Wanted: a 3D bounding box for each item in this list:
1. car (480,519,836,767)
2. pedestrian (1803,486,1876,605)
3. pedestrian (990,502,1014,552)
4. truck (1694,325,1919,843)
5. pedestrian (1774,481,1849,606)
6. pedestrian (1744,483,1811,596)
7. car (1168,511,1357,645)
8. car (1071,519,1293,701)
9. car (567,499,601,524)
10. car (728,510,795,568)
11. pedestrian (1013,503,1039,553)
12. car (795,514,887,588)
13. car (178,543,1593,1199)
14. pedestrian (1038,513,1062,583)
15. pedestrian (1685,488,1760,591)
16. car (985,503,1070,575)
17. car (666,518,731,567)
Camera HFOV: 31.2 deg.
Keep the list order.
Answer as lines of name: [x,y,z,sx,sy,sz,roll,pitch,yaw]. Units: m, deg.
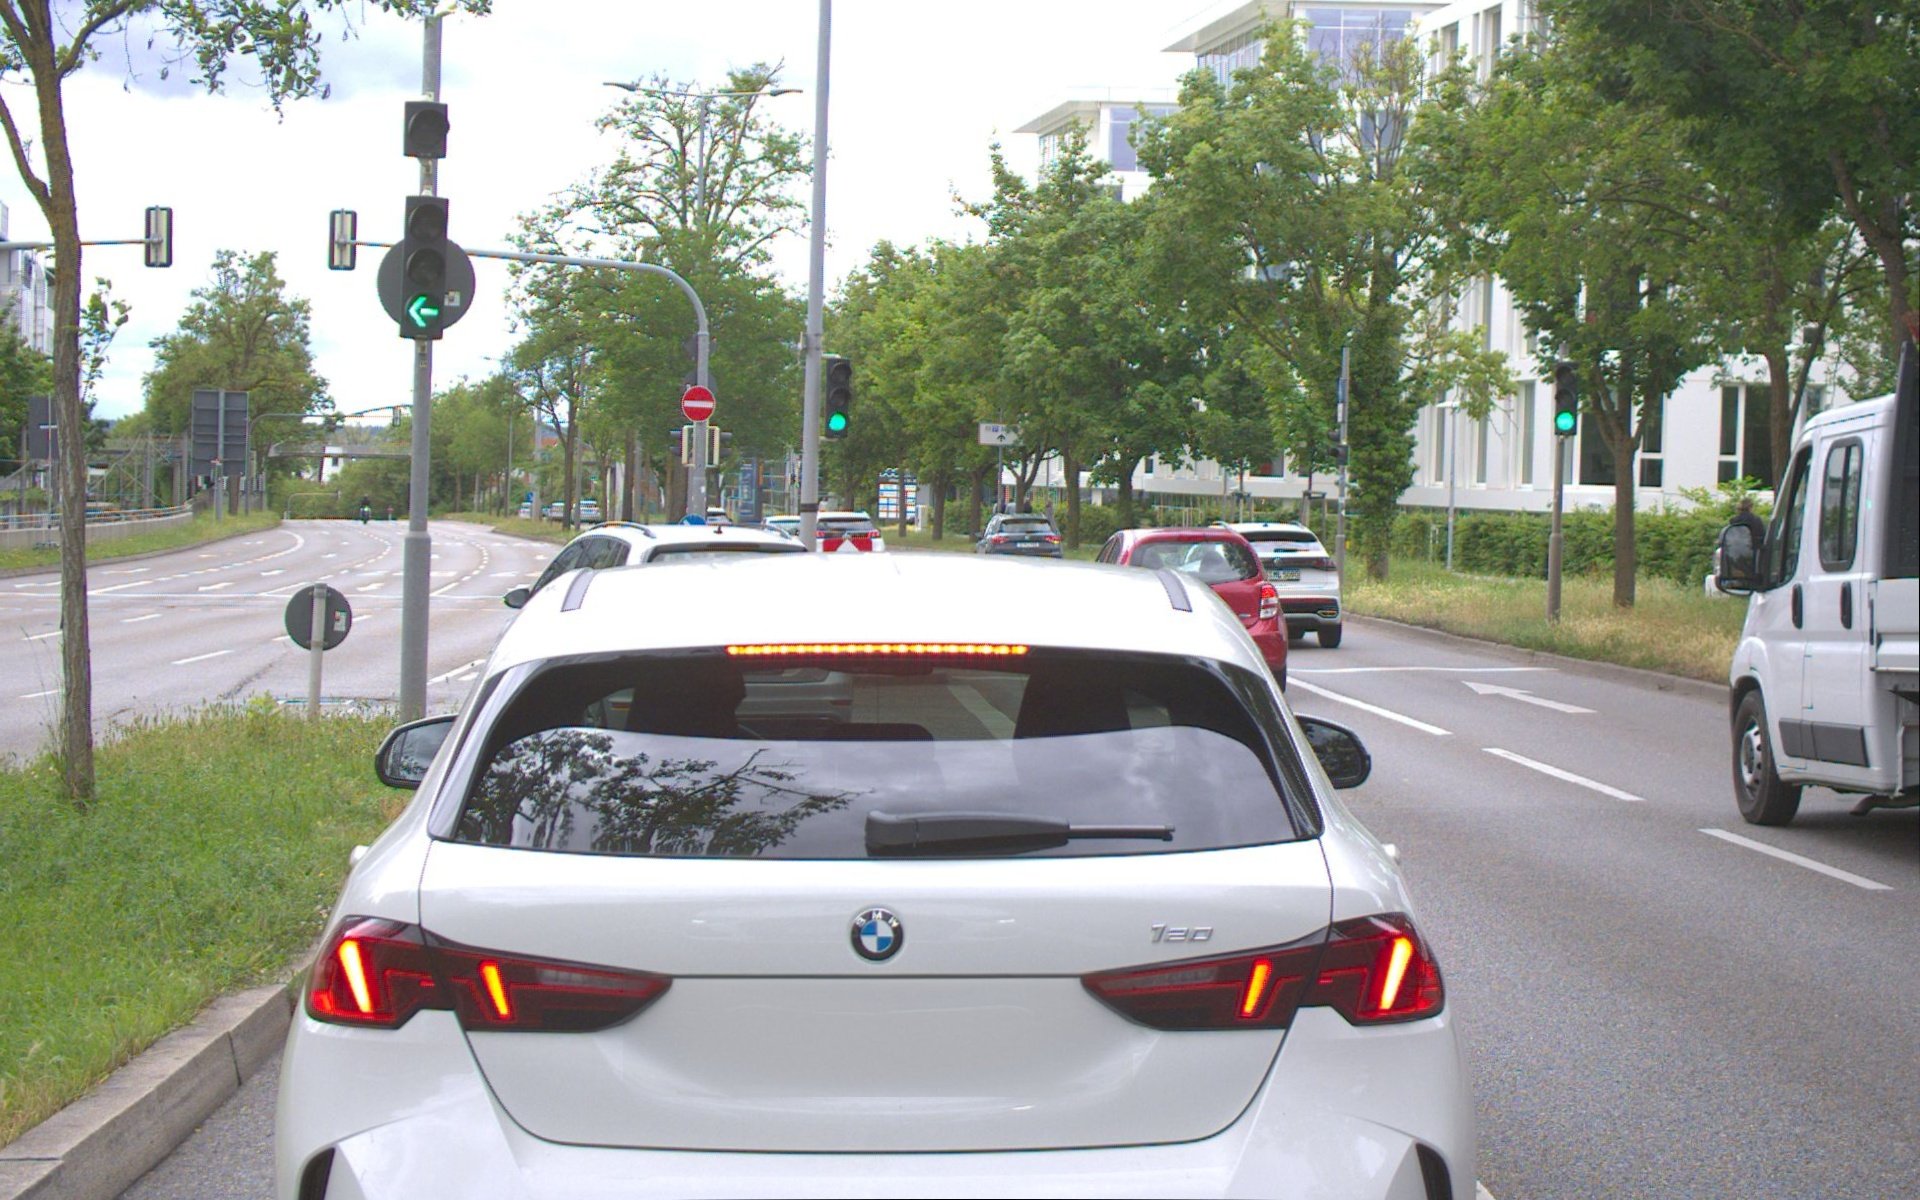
car: [-2.191,0.241,23.979,1.549,1.563,4.001,1,1,-19]
pedestrian: [12.561,-0.774,49.104,0.767,1.679,0.883,1,0,-1]
pedestrian: [1.716,-2.999,141.147,0.762,2.007,0.754,1,0,-15]
truck: [5.154,-0.070,15.568,2.211,2.196,5.845,1,1,-2]
pedestrian: [10.805,-0.717,43.631,0.741,1.568,0.674,1,0,-1]
pedestrian: [11.662,-0.854,49.042,0.699,1.590,0.883,1,0,-1]
car: [3.668,-0.299,42.325,1.715,1.550,4.090,1,1,-4]
car: [1.968,0.050,31.430,1.716,1.553,3.858,0,1,-1]
car: [-25.385,-5.974,231.992,1.993,1.664,4.001,-1,1,-10]
car: [-5.242,-1.619,90.608,1.605,1.463,3.676,1,1,-5]
pedestrian: [2.680,-2.902,139.338,0.848,2.007,0.606,1,1,-15]
car: [-2.686,-1.099,76.624,1.854,1.590,4.314,0,1,-5]
car: [-0.123,0.634,6.478,1.822,1.433,4.000,1,1,-1]
pedestrian: [3.378,-1.975,129.648,0.831,2.618,0.646,1,1,-1]
pedestrian: [10.914,-0.866,49.243,0.789,1.443,1.112,1,0,-1]
car: [1.509,-1.353,77.797,1.657,1.507,4.000,1,-1,-2]
car: [-8.922,-1.977,116.907,1.891,1.590,4.315,1,1,-8]
